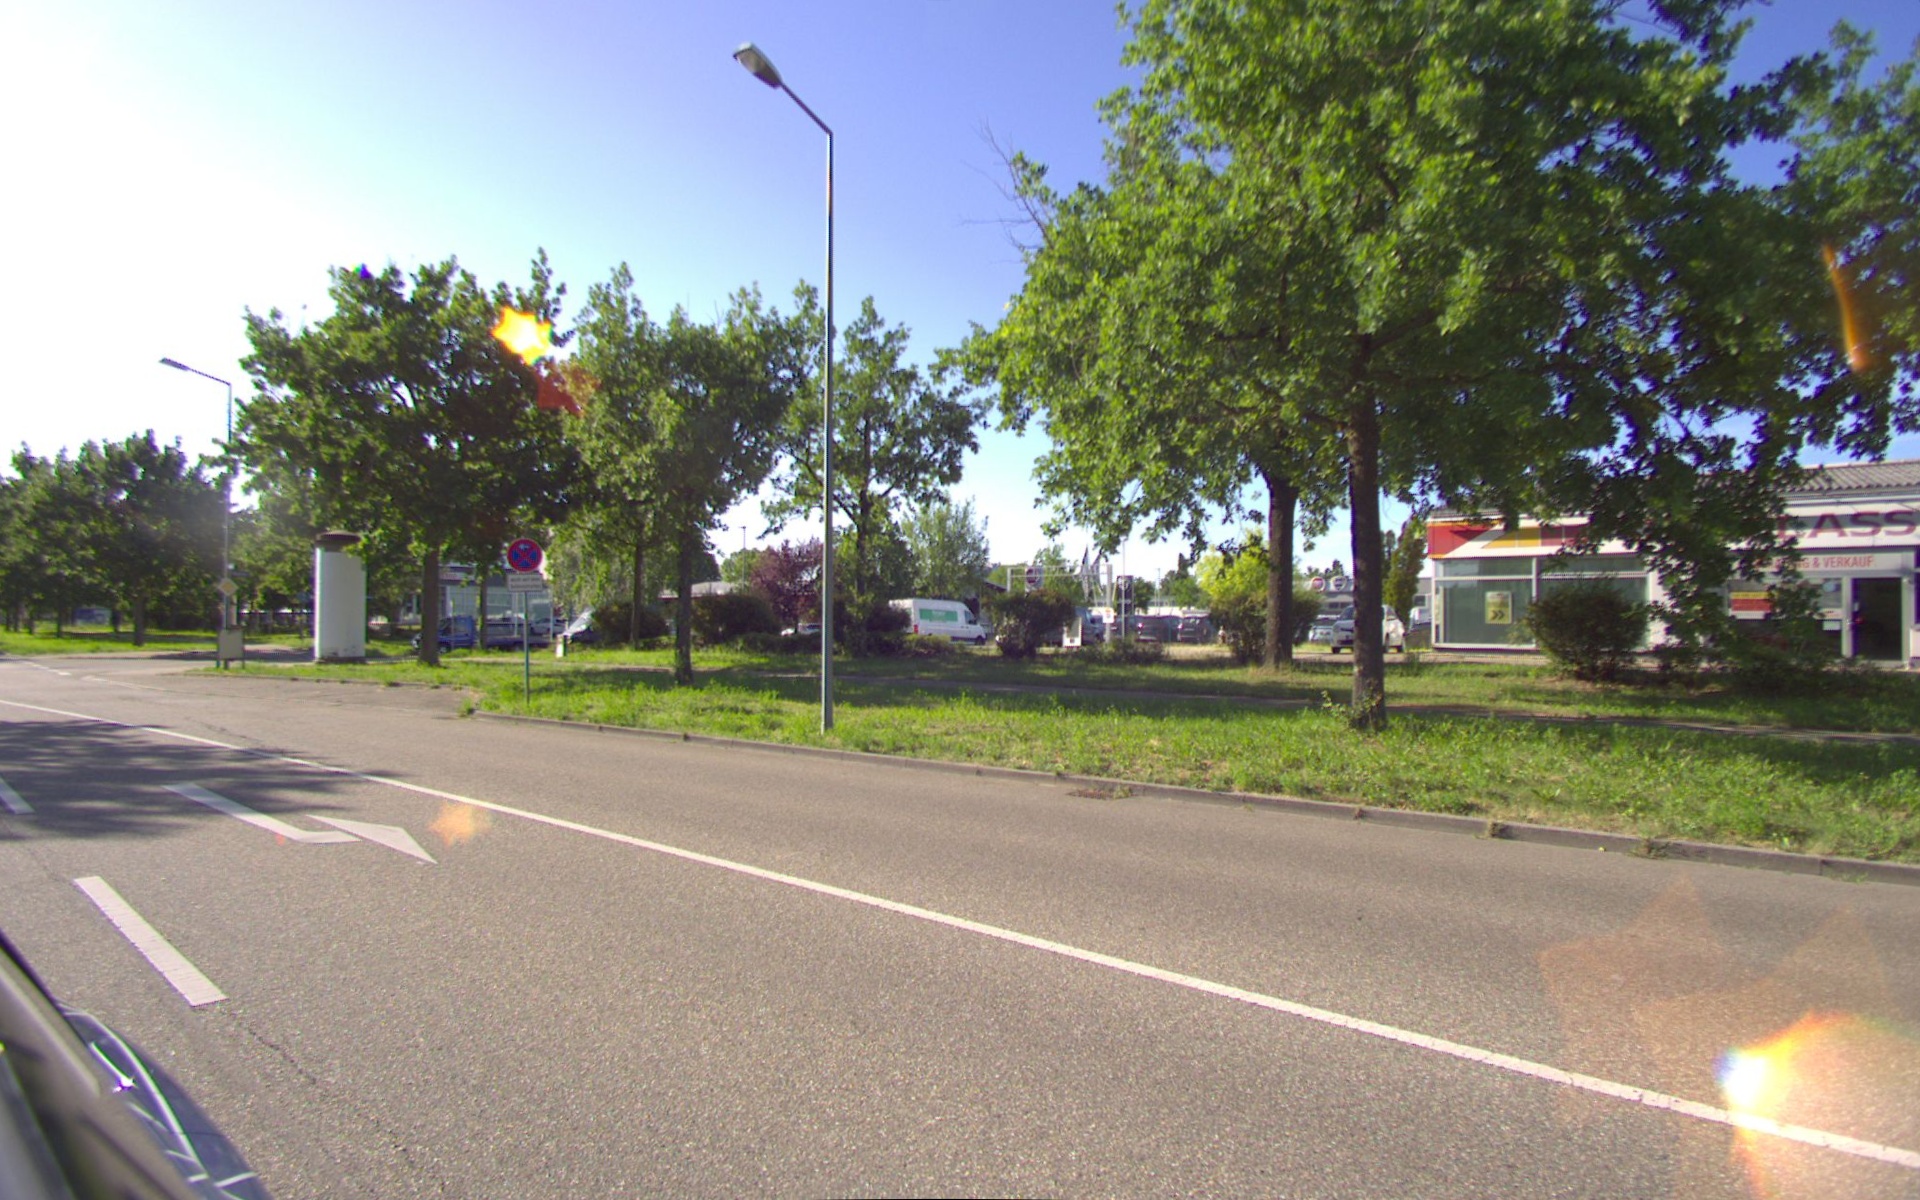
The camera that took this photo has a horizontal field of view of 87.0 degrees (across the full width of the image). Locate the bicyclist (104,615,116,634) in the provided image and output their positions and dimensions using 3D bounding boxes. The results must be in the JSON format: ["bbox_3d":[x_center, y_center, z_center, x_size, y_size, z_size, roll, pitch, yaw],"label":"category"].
[{"bbox_3d":[-71.630,2.068,85.286,0.659,1.641,0.656,0,0,43],"label":"bicyclist"}]

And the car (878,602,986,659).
[{"bbox_3d":[-1.353,1.495,52.388,2.297,2.723,6.102,0,0,37],"label":"car"}]

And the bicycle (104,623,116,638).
[{"bbox_3d":[-71.672,2.551,85.323,2.335,1.170,0.545,0,0,44],"label":"bicycle"}]

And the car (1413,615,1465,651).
[{"bbox_3d":[28.079,1.925,59.296,1.883,2.029,3.947,-1,-2,39],"label":"car"}]

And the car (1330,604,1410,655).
[{"bbox_3d":[12.995,0.901,31.974,1.590,1.509,3.564,0,-1,36],"label":"car"}]

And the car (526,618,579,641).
[{"bbox_3d":[-31.224,2.231,77.536,4.296,1.505,1.973,2,1,40],"label":"car"}]

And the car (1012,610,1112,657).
[{"bbox_3d":[4.876,1.560,47.716,2.297,2.085,5.358,-1,-2,37],"label":"car"}]

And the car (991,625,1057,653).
[{"bbox_3d":[3.200,1.881,49.857,1.572,1.312,3.489,-1,-2,38],"label":"car"}]

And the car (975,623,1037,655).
[{"bbox_3d":[2.941,2.442,63.927,1.882,1.899,4.199,-1,-2,37],"label":"car"}]

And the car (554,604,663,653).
[{"bbox_3d":[-20.655,1.612,59.770,2.297,2.723,5.807,0,0,37],"label":"car"}]

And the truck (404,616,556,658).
[{"bbox_3d":[-25.304,1.957,53.681,2.138,2.065,7.043,0,-2,38],"label":"truck"}]

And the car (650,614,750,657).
[{"bbox_3d":[-16.707,2.227,65.408,2.297,2.535,6.280,0,0,37],"label":"car"}]
